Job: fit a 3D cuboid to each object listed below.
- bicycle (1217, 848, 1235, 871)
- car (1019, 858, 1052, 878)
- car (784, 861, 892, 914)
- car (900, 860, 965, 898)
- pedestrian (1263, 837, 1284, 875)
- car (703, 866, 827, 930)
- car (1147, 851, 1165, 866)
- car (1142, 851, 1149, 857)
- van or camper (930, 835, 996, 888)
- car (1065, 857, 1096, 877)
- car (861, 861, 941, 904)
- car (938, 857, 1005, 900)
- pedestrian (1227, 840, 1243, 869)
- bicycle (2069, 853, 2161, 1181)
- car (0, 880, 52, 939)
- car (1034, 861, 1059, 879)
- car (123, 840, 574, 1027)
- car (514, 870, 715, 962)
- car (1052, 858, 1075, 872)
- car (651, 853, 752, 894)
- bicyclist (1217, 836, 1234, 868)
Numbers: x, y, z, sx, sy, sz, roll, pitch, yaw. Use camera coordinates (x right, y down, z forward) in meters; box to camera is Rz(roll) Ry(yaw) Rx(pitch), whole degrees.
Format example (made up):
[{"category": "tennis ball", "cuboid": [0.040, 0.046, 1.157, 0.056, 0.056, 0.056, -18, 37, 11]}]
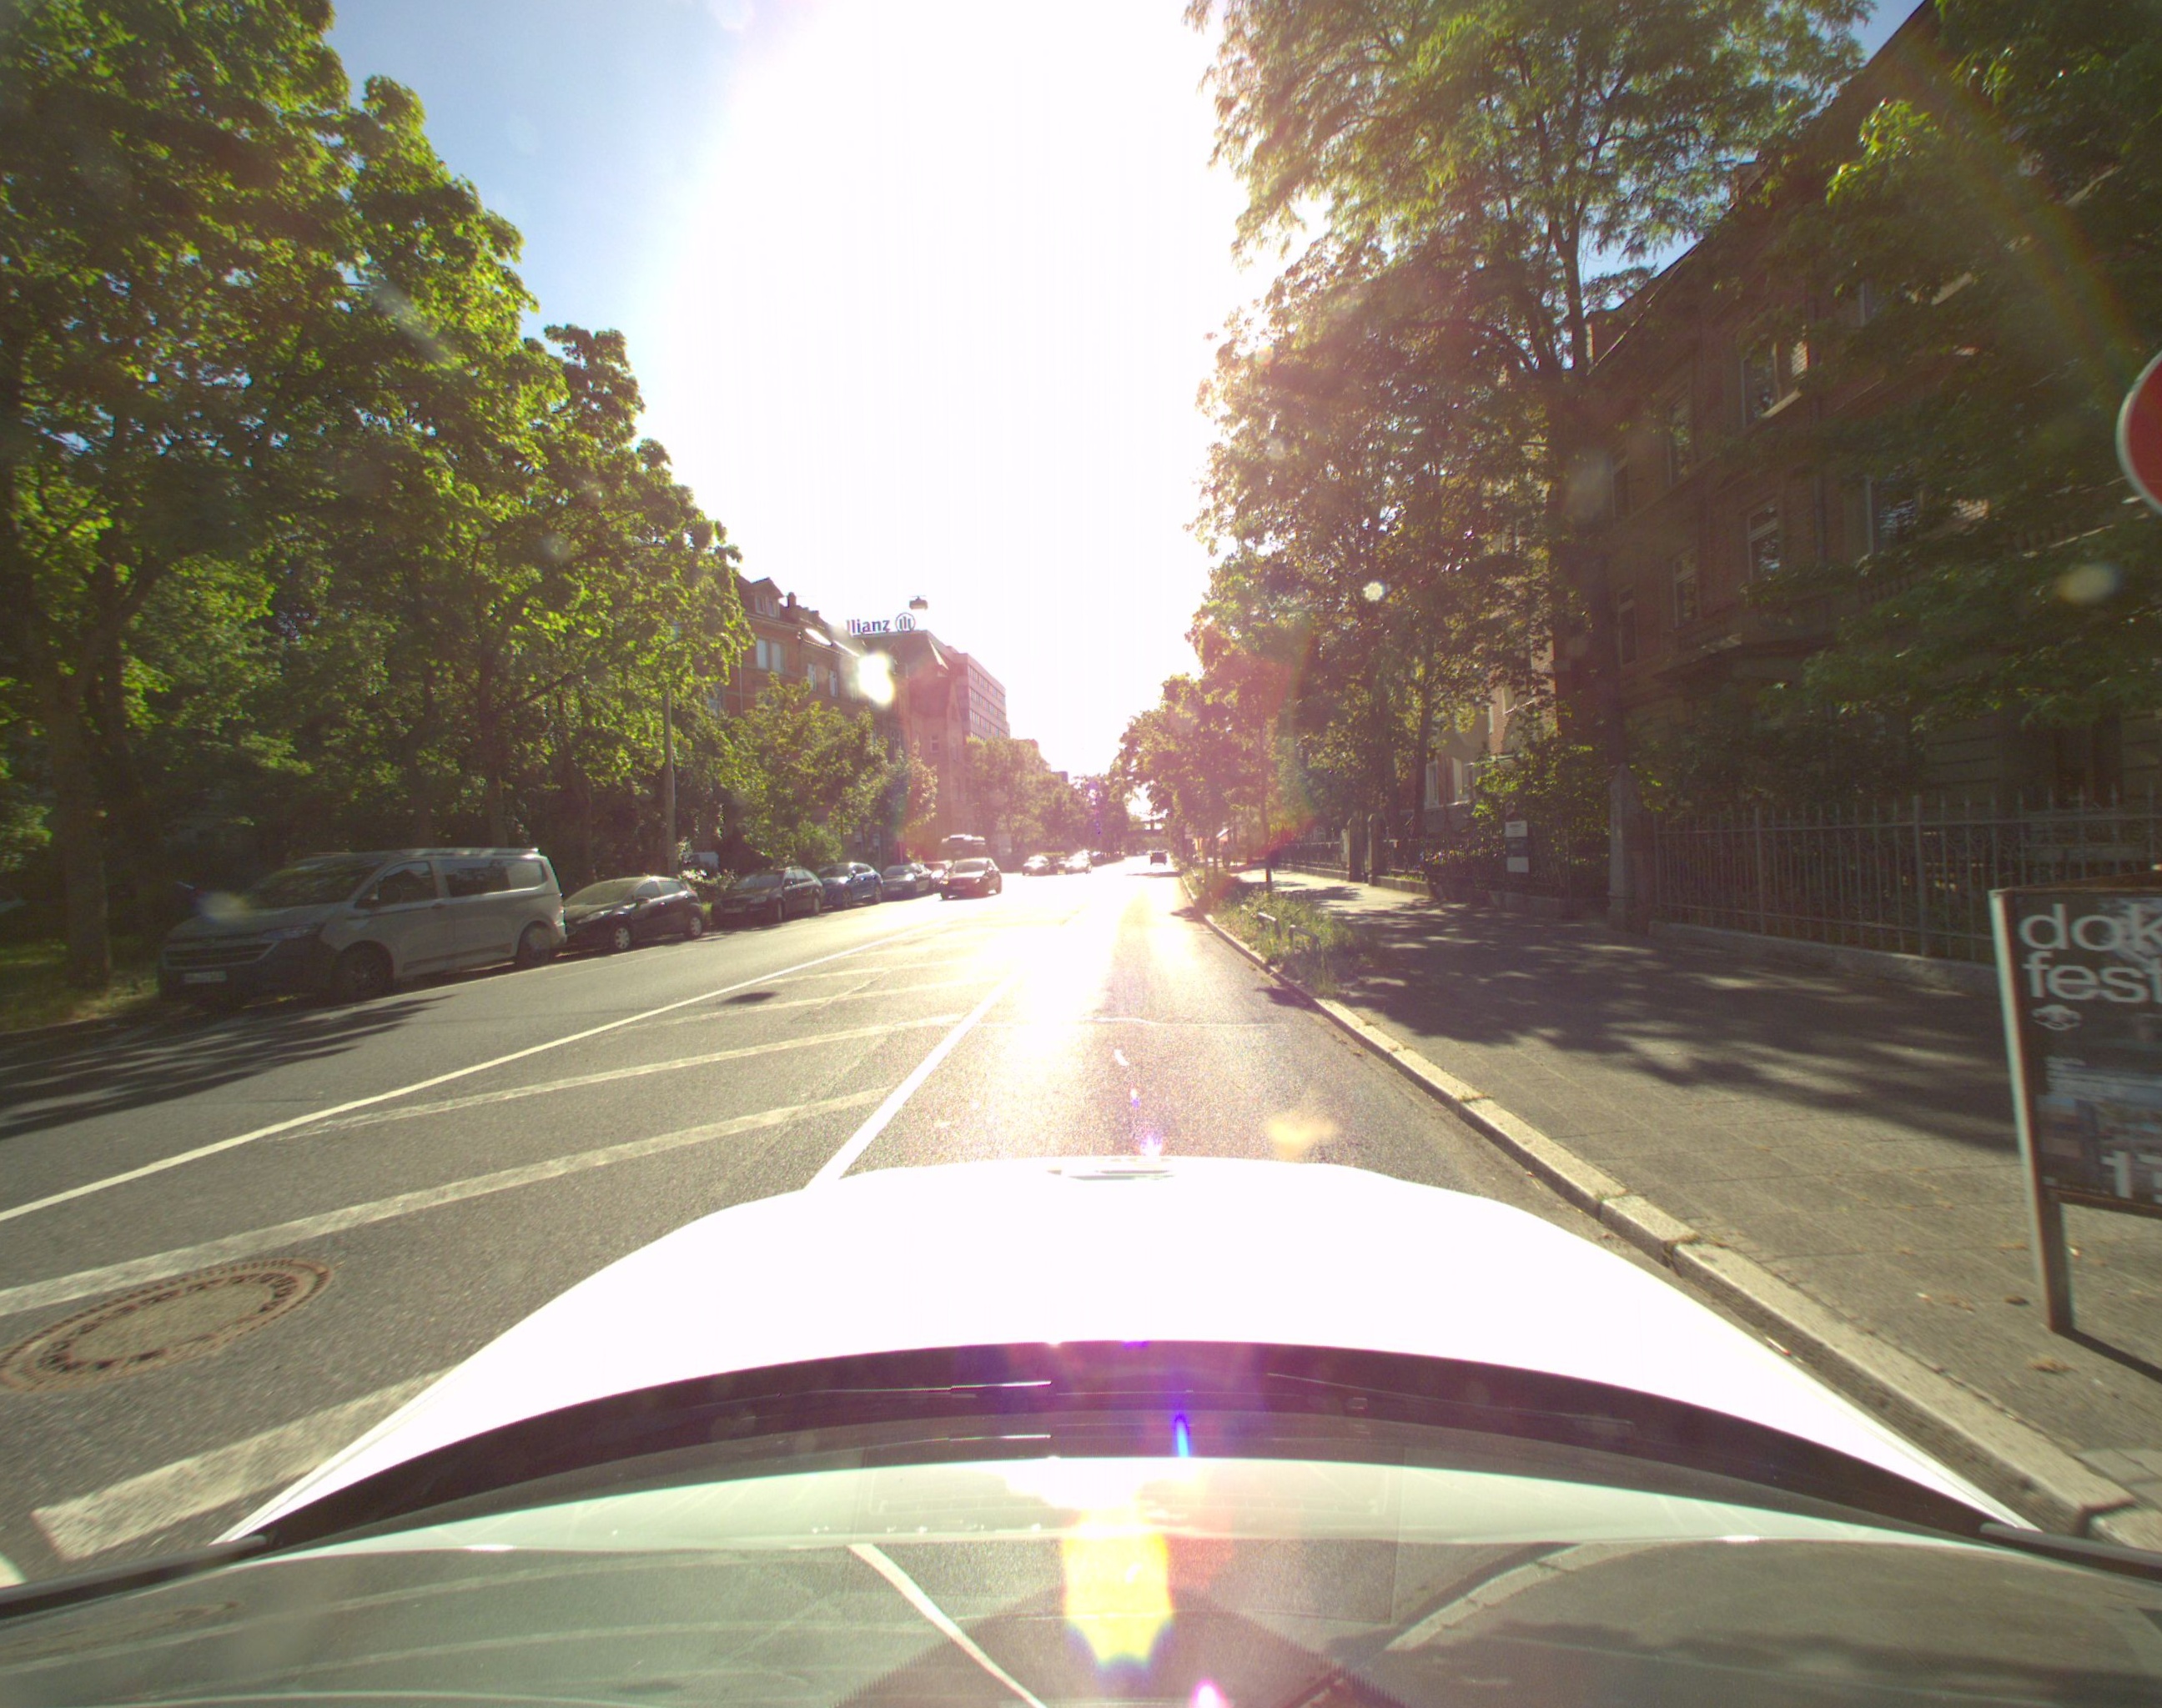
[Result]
[{"category": "bicycle", "cuboid": [8.123, 0.302, 45.562, 0.613, 1.176, 1.920, -6, 0, 2]}, {"category": "car", "cuboid": [-3.606, 1.089, 65.759, 1.846, 1.427, 4.729, 1, 0, 7]}, {"category": "car", "cuboid": [-8.378, 1.103, 28.548, 1.770, 1.538, 4.569, -4, 0, 8]}, {"category": "car", "cuboid": [-6.906, 1.129, 38.344, 1.685, 1.456, 4.671, -5, 0, 6]}, {"category": "pedestrian", "cuboid": [8.850, 0.098, 37.456, 0.691, 1.658, 0.821, -6, -1, 5]}, {"category": "car", "cuboid": [-8.800, 1.162, 23.076, 1.584, 1.482, 4.275, -4, -1, 3]}, {"category": "car", "cuboid": [8.496, 0.494, 92.208, 1.975, 1.600, 4.146, -2, 0, 4]}, {"category": "car", "cuboid": [19.863, -0.027, 249.835, 1.847, 1.825, 4.616, -5, 0, 5]}, {"category": "van or camper", "cuboid": [-6.629, 0.386, 46.529, 2.205, 2.739, 6.098, -3, 0, 6]}, {"category": "car", "cuboid": [-0.016, 0.980, 63.096, 1.909, 1.419, 4.232, -3, 0, 6]}, {"category": "car", "cuboid": [-7.289, 1.109, 33.414, 1.771, 1.413, 4.412, -5, 0, 6]}, {"category": "car", "cuboid": [-4.202, 0.903, 31.870, 1.584, 1.450, 4.140, -3, 0, 6]}, {"category": "pedestrian", "cuboid": [10.268, 0.030, 54.307, 0.741, 1.787, 0.815, -6, 0, 19]}, {"category": "bicycle", "cuboid": [4.231, 0.591, 2.262, 0.650, 1.176, 1.843, -6, 0, 1]}, {"category": "car", "cuboid": [-27.489, 1.432, 19.949, 1.602, 1.428, 4.135, -6, 0, -35]}, {"category": "car", "cuboid": [-3.019, 1.358, 71.488, 1.849, 1.494, 4.707, 0, 0, 1]}, {"category": "car", "cuboid": [-10.162, 0.926, 12.046, 1.976, 2.036, 4.878, -5, 0, 2]}, {"category": "car", "cuboid": [-9.407, 1.176, 16.826, 1.456, 1.501, 3.965, -4, -1, 6]}, {"category": "car", "cuboid": [-1.650, 1.041, 79.161, 1.669, 1.255, 4.022, -2, 0, 6]}, {"category": "car", "cuboid": [-19.829, 0.983, 42.790, 1.841, 1.914, 4.479, -5, -2, 30]}, {"category": "bicyclist", "cuboid": [8.080, -0.125, 45.561, 0.618, 1.690, 0.821, -6, 0, 2]}]
